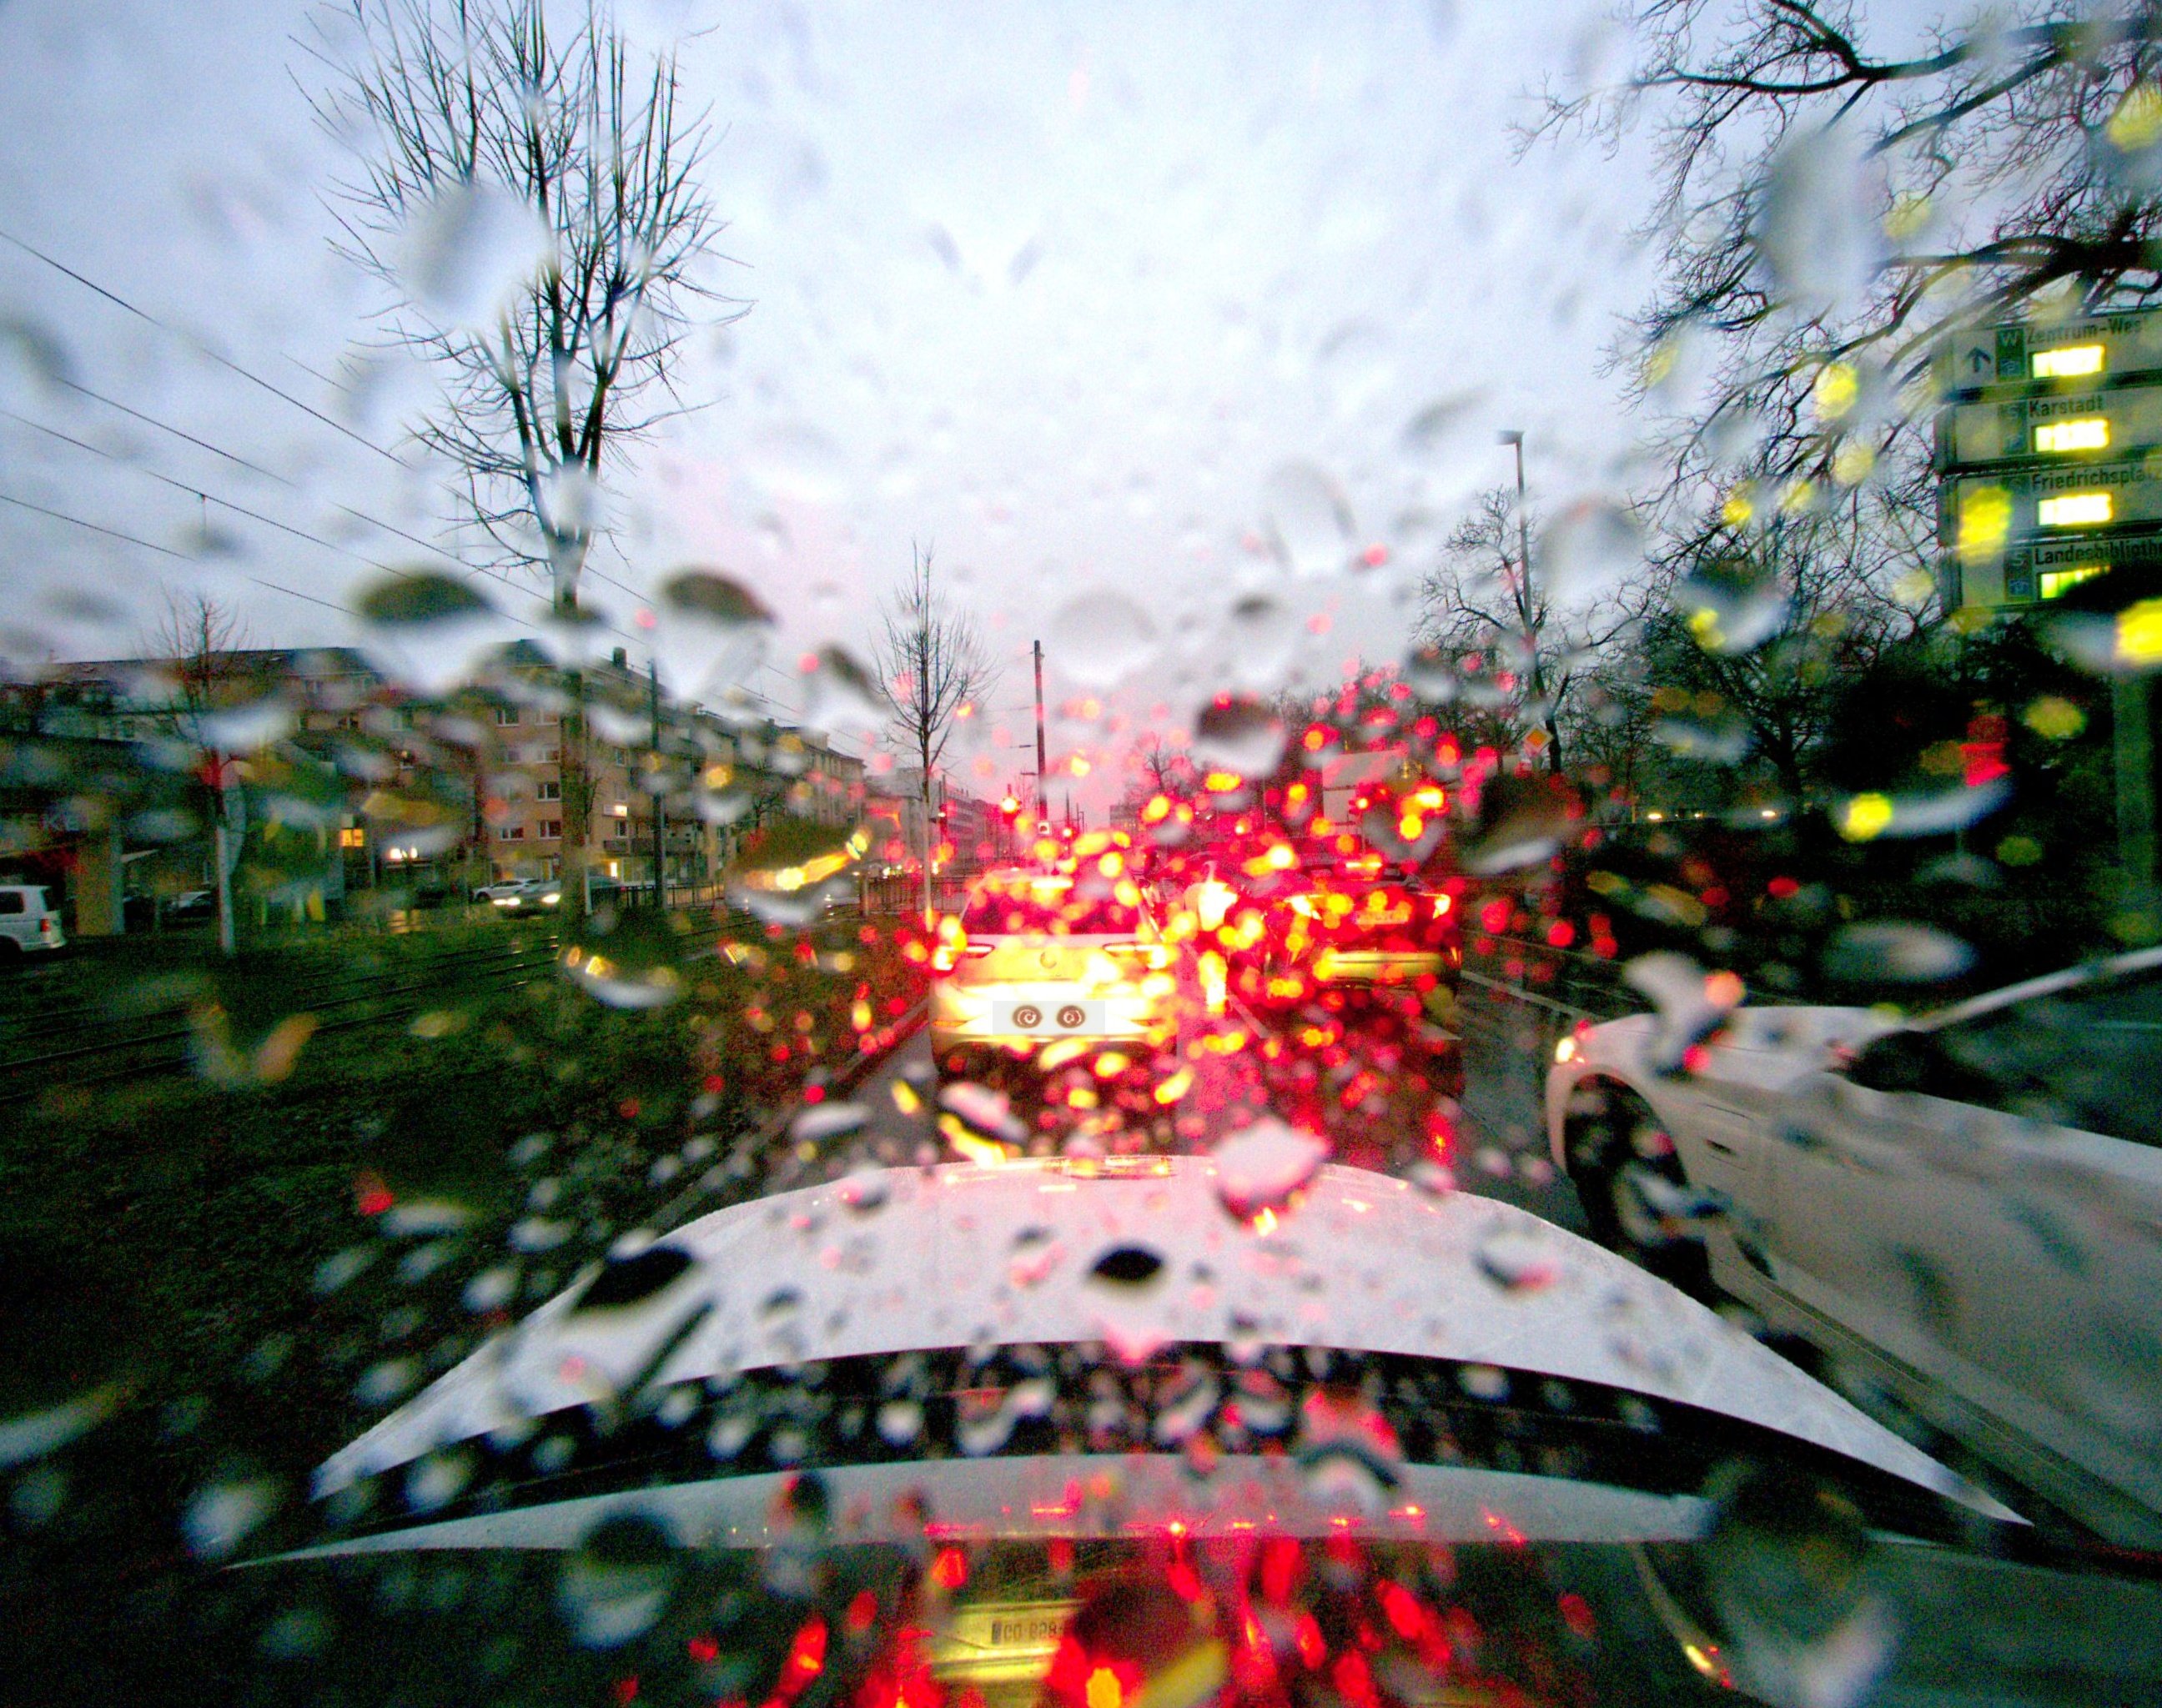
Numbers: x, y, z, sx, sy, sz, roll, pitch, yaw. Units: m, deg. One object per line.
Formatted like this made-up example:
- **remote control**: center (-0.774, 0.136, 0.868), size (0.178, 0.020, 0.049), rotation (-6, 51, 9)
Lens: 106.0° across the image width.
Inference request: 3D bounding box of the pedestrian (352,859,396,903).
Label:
- **pedestrian**: center (-34.067, 1.295, 39.268), size (1.274, 2.013, 1.000), rotation (-2, 0, -22)

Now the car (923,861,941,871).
- **car**: center (-23.208, 1.891, 127.208), size (1.942, 1.602, 4.002), rotation (0, 0, 2)

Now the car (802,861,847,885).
- **car**: center (-18.848, 1.379, 60.048), size (1.860, 1.577, 4.001), rotation (-2, 0, 2)

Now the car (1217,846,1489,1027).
- **car**: center (2.683, 0.717, 9.007), size (1.793, 1.511, 3.897), rotation (-2, 0, 2)

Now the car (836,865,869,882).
- **car**: center (-22.815, 1.927, 81.428), size (1.942, 1.602, 4.002), rotation (0, 0, 2)

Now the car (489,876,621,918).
- **car**: center (-18.929, 1.501, 29.582), size (1.852, 1.332, 4.317), rotation (0, 0, 2)

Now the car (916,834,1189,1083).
- **car**: center (-0.162, 0.642, 7.095), size (1.687, 1.533, 4.000), rotation (-1, 0, 0)

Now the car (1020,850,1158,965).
- **car**: center (0.188, 0.705, 13.164), size (1.792, 1.466, 4.588), rotation (-2, 0, 2)

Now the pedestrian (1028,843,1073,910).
- **pedestrian**: center (-0.950, 0.681, 25.339), size (1.011, 2.013, 0.952), rotation (-2, 0, -30)

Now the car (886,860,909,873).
- **car**: center (-23.055, 1.589, 102.409), size (1.942, 1.602, 4.002), rotation (0, 0, 2)

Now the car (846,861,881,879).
- **car**: center (-19.913, 1.461, 74.787), size (1.942, 1.602, 4.002), rotation (0, 0, 2)

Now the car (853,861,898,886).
- **car**: center (-14.002, 1.328, 55.756), size (1.986, 1.602, 4.001), rotation (0, 0, 1)

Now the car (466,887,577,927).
- **car**: center (-23.194, 2.150, 33.957), size (1.853, 1.332, 3.999), rotation (-2, 0, 0)

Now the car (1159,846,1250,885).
- **car**: center (6.460, 0.607, 42.624), size (4.231, 1.943, 2.013), rotation (0, 0, 32)

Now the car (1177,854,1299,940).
- **car**: center (2.842, 0.727, 15.450), size (1.738, 1.433, 3.733), rotation (0, 0, 2)

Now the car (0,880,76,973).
- **car**: center (-28.640, 1.835, 19.937), size (4.859, 2.244, 1.975), rotation (0, -1, -44)

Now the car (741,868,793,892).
- **car**: center (-18.807, 1.547, 48.947), size (1.688, 1.277, 4.142), rotation (-2, 0, -4)

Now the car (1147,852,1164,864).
- **car**: center (8.983, 0.457, 98.280), size (1.731, 1.419, 3.705), rotation (-2, 0, 2)

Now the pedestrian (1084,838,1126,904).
- **pedestrian**: center (0.756, 0.532, 25.884), size (0.962, 2.013, 1.001), rotation (-2, 0, -21)

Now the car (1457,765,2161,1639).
- **car**: center (2.826, 0.585, 1.445), size (1.858, 1.556, 4.934), rotation (-2, 0, -2)

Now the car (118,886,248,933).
- **car**: center (-43.081, 2.635, 39.215), size (1.886, 2.014, 3.876), rotation (0, 0, 2)

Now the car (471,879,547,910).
- **car**: center (-38.555, 2.705, 55.003), size (3.743, 1.942, 1.838), rotation (0, 0, -6)

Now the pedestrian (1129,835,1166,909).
- **pedestrian**: center (1.867, 0.489, 22.828), size (0.954, 2.013, 1.009), rotation (-2, 0, 4)
